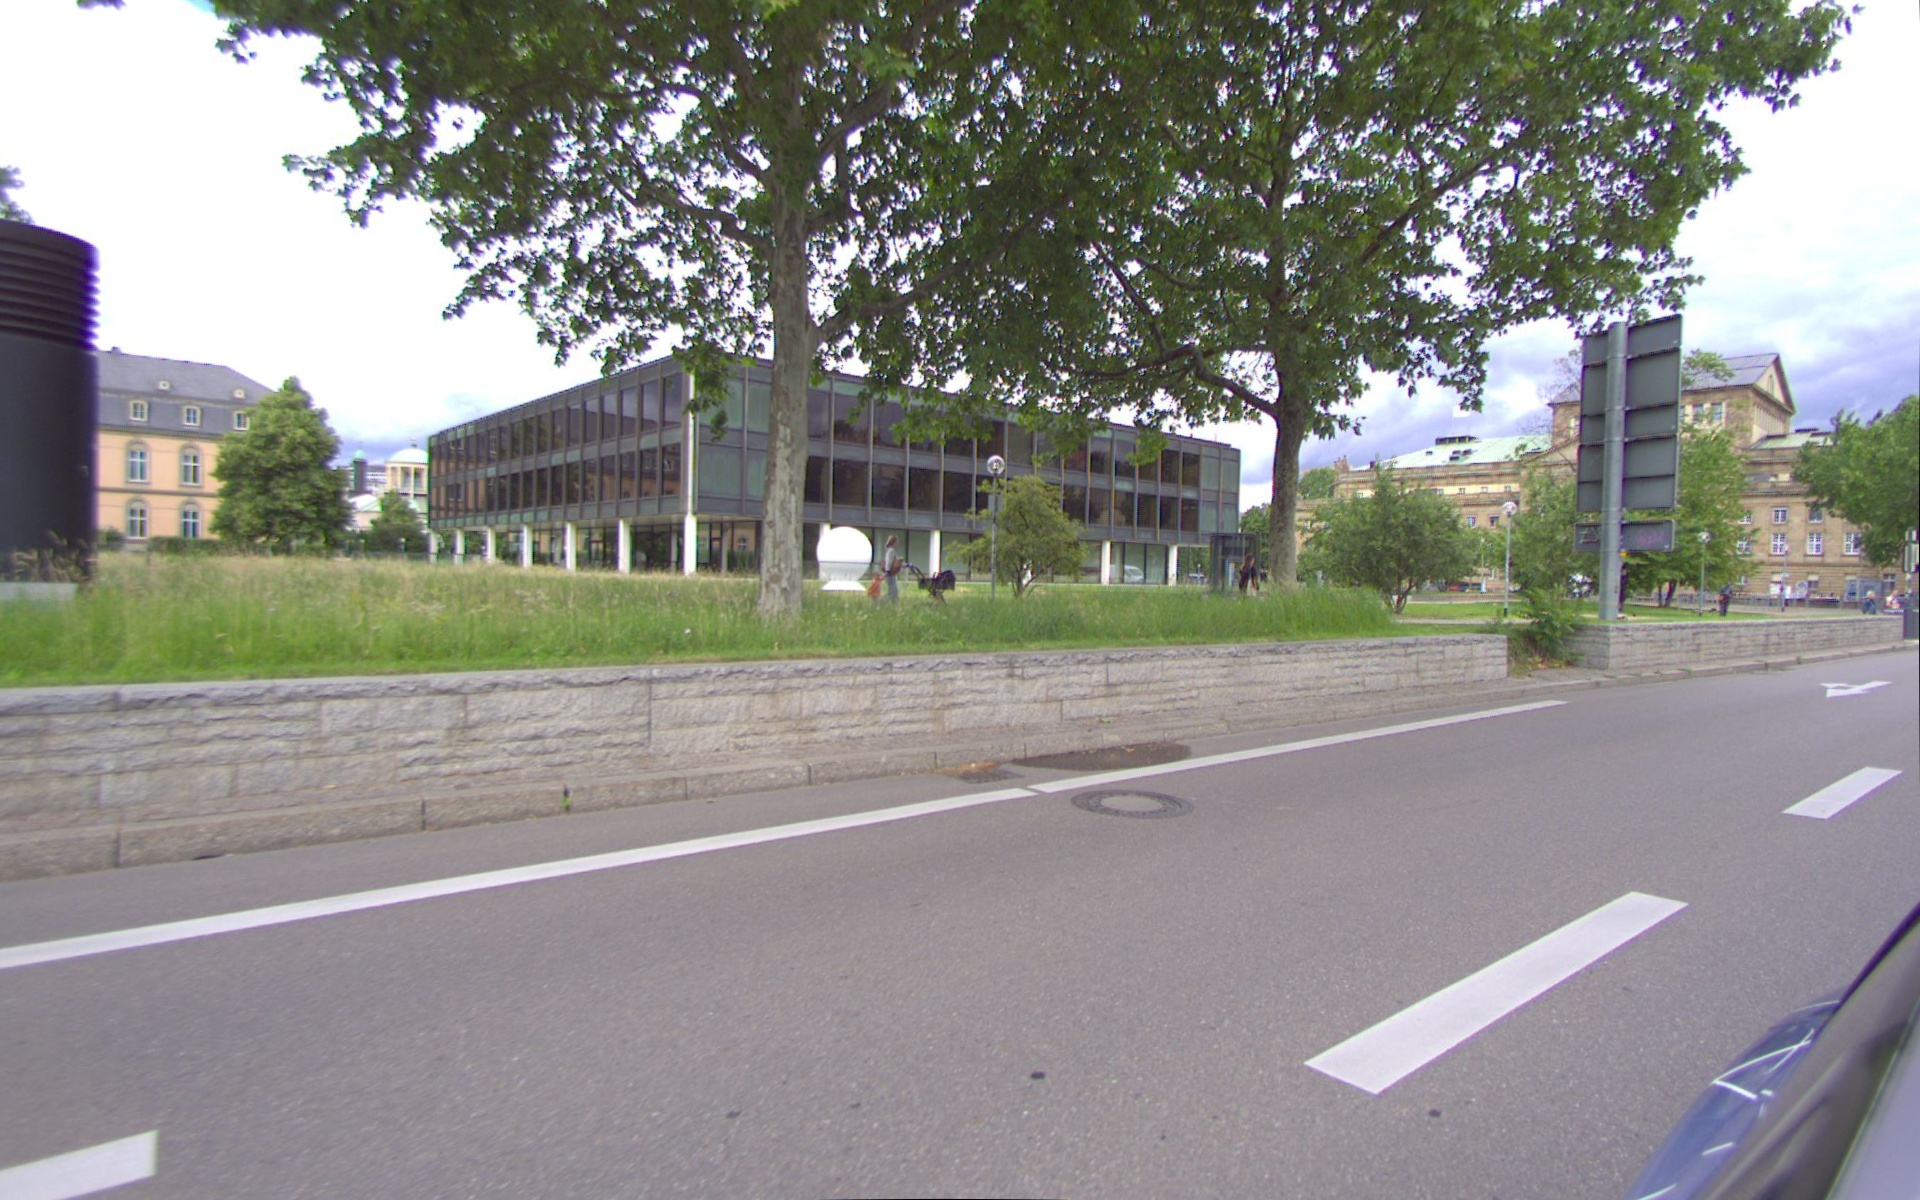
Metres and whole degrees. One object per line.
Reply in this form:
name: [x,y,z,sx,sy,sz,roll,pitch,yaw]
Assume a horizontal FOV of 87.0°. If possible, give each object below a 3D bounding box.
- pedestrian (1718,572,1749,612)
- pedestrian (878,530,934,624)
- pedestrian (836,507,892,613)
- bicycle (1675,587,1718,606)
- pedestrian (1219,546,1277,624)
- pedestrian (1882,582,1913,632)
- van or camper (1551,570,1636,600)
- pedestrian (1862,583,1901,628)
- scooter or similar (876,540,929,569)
pedestrian: [32.199,-0.342,42.120,0.614,1.646,0.805,1,1,-33]
pedestrian: [-1.122,-0.466,20.719,1.008,1.859,1.001,-1,0,-10]
pedestrian: [-1.897,-0.776,19.947,0.916,2.039,0.571,0,-1,-40]
bicycle: [48.507,-0.250,66.667,0.673,1.155,2.196,1,2,-40]
pedestrian: [6.600,-0.333,23.186,0.952,1.755,0.897,0,-1,-40]
pedestrian: [32.008,0.231,34.560,0.672,1.677,0.698,0,-1,-41]
van or camper: [52.990,-1.266,84.740,2.280,2.348,5.708,-2,2,-40]
pedestrian: [32.832,0.198,36.048,0.889,1.581,0.686,1,0,-23]
scooter or similar: [-1.175,-0.914,20.581,0.881,0.559,0.619,-1,0,-40]
